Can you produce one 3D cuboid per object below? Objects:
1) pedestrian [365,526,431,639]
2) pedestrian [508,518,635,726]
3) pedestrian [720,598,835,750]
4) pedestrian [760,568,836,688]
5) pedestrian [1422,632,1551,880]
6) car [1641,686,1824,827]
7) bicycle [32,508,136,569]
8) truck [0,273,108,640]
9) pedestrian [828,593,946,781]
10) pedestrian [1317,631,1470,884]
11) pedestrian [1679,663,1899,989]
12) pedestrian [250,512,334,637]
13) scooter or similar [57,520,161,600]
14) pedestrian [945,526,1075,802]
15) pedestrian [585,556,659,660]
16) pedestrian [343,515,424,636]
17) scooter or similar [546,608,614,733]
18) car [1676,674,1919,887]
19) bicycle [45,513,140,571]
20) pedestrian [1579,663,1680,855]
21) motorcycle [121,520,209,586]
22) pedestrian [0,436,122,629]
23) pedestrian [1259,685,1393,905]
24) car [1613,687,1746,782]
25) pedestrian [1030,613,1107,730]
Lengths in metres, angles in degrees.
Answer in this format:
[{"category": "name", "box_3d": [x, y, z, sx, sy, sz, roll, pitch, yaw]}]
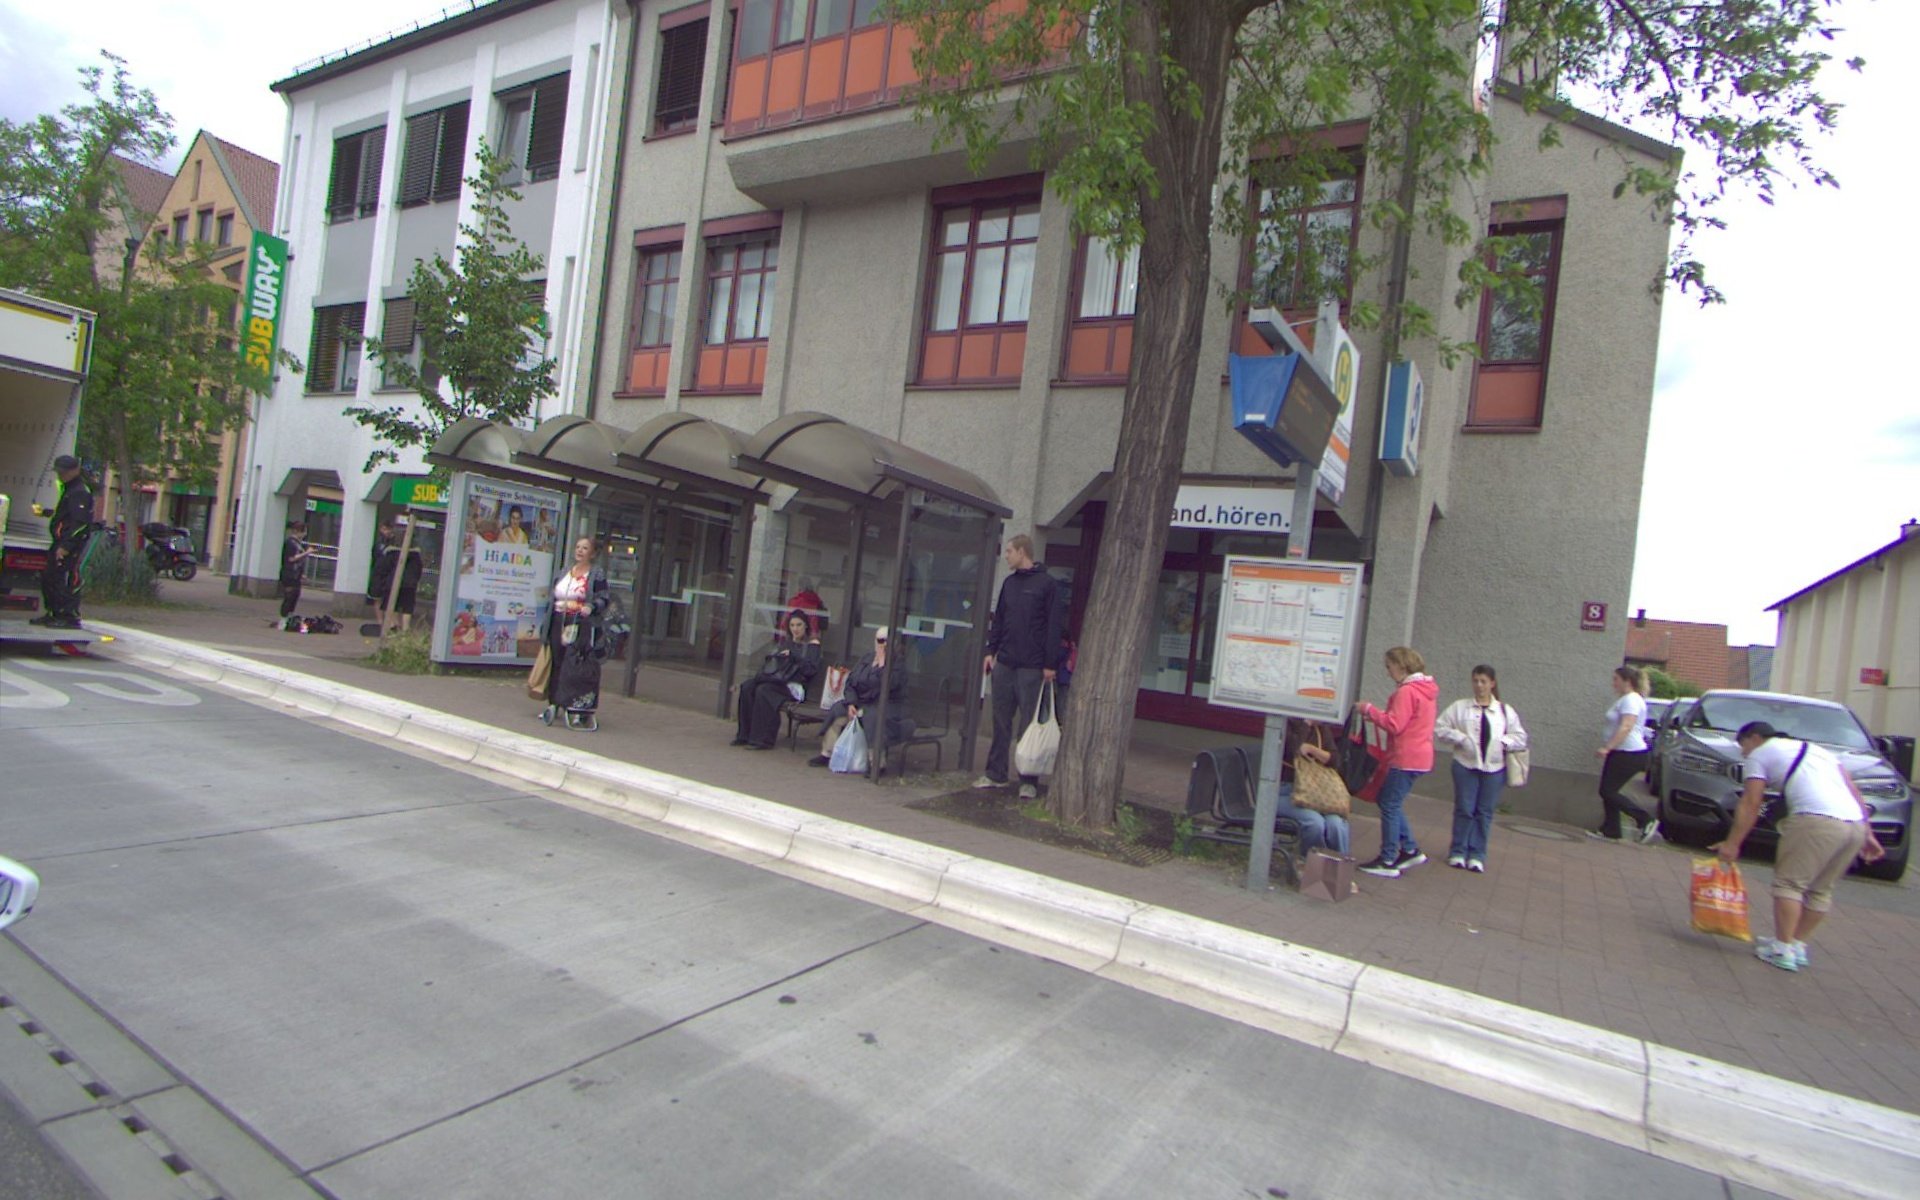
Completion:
[{"category": "pedestrian", "box_3d": [-8.545, -0.258, 15.314, 0.578, 1.631, 0.613, 6, 0, -13]}, {"category": "pedestrian", "box_3d": [-3.298, 0.198, 8.575, 0.577, 1.652, 0.537, 8, -3, 7]}, {"category": "pedestrian", "box_3d": [-1.621, 0.646, 8.949, 0.580, 1.248, 0.698, 7, 2, 41]}, {"category": "pedestrian", "box_3d": [-2.374, 0.421, 14.779, 0.604, 1.654, 0.728, 7, 0, 23]}, {"category": "pedestrian", "box_3d": [3.853, 1.114, 7.349, 0.579, 1.653, 0.613, 7, -1, 36]}, {"category": "car", "box_3d": [11.754, 2.337, 15.556, 1.807, 1.638, 3.944, 6, -2, 34]}, {"category": "bicycle", "box_3d": [-23.459, -1.622, 26.973, 0.829, 1.342, 1.820, 7, -1, 28]}, {"category": "truck", "box_3d": [-13.988, -1.953, 12.055, 9.605, 3.604, 2.693, 7, -1, 32]}, {"category": "pedestrian", "box_3d": [-0.593, 0.695, 8.167, 0.611, 1.419, 0.580, 5, 1, -45]}, {"category": "pedestrian", "box_3d": [2.944, 1.060, 6.827, 0.669, 1.585, 0.486, 9, 0, -38]}, {"category": "pedestrian", "box_3d": [4.802, 1.240, 5.842, 0.783, 1.656, 0.611, 8, 3, 44]}, {"category": "pedestrian", "box_3d": [-10.035, -0.375, 15.126, 0.578, 1.758, 0.615, 7, -3, 28]}, {"category": "scooter or similar", "box_3d": [-14.545, -0.672, 17.218, 0.452, 1.210, 1.179, 7, -1, 23]}, {"category": "pedestrian", "box_3d": [0.396, 0.491, 7.957, 0.611, 2.073, 0.580, 5, 1, -45]}, {"category": "pedestrian", "box_3d": [-5.365, 0.137, 16.007, 0.604, 1.544, 0.727, 7, 0, 25]}, {"category": "pedestrian", "box_3d": [-9.313, -0.380, 16.263, 0.752, 1.841, 0.615, 6, 0, 8]}, {"category": "scooter or similar", "box_3d": [-3.120, 0.569, 8.276, 0.349, 0.971, 0.384, 7, 0, -9]}, {"category": "car", "box_3d": [9.136, 1.857, 11.078, 1.851, 1.638, 4.609, 6, -2, 35]}, {"category": "bicycle", "box_3d": [-22.768, -1.511, 26.429, 0.658, 1.274, 1.678, 7, -1, 28]}, {"category": "pedestrian", "box_3d": [6.279, 1.467, 9.464, 0.605, 1.654, 0.587, 7, 0, 32]}, {"category": "motorcycle", "box_3d": [-18.335, -1.089, 23.190, 2.071, 1.286, 0.738, 7, 0, 28]}, {"category": "pedestrian", "box_3d": [-8.849, -0.653, 9.910, 0.578, 1.801, 0.614, 6, 0, 28]}, {"category": "pedestrian", "box_3d": [2.269, 1.157, 6.201, 0.577, 1.179, 0.714, 8, -1, 25]}, {"category": "car", "box_3d": [14.745, 2.741, 20.816, 1.806, 1.524, 3.946, 6, -2, 32]}, {"category": "pedestrian", "box_3d": [1.391, 0.911, 12.839, 0.605, 1.392, 0.587, 7, -1, 34]}]
